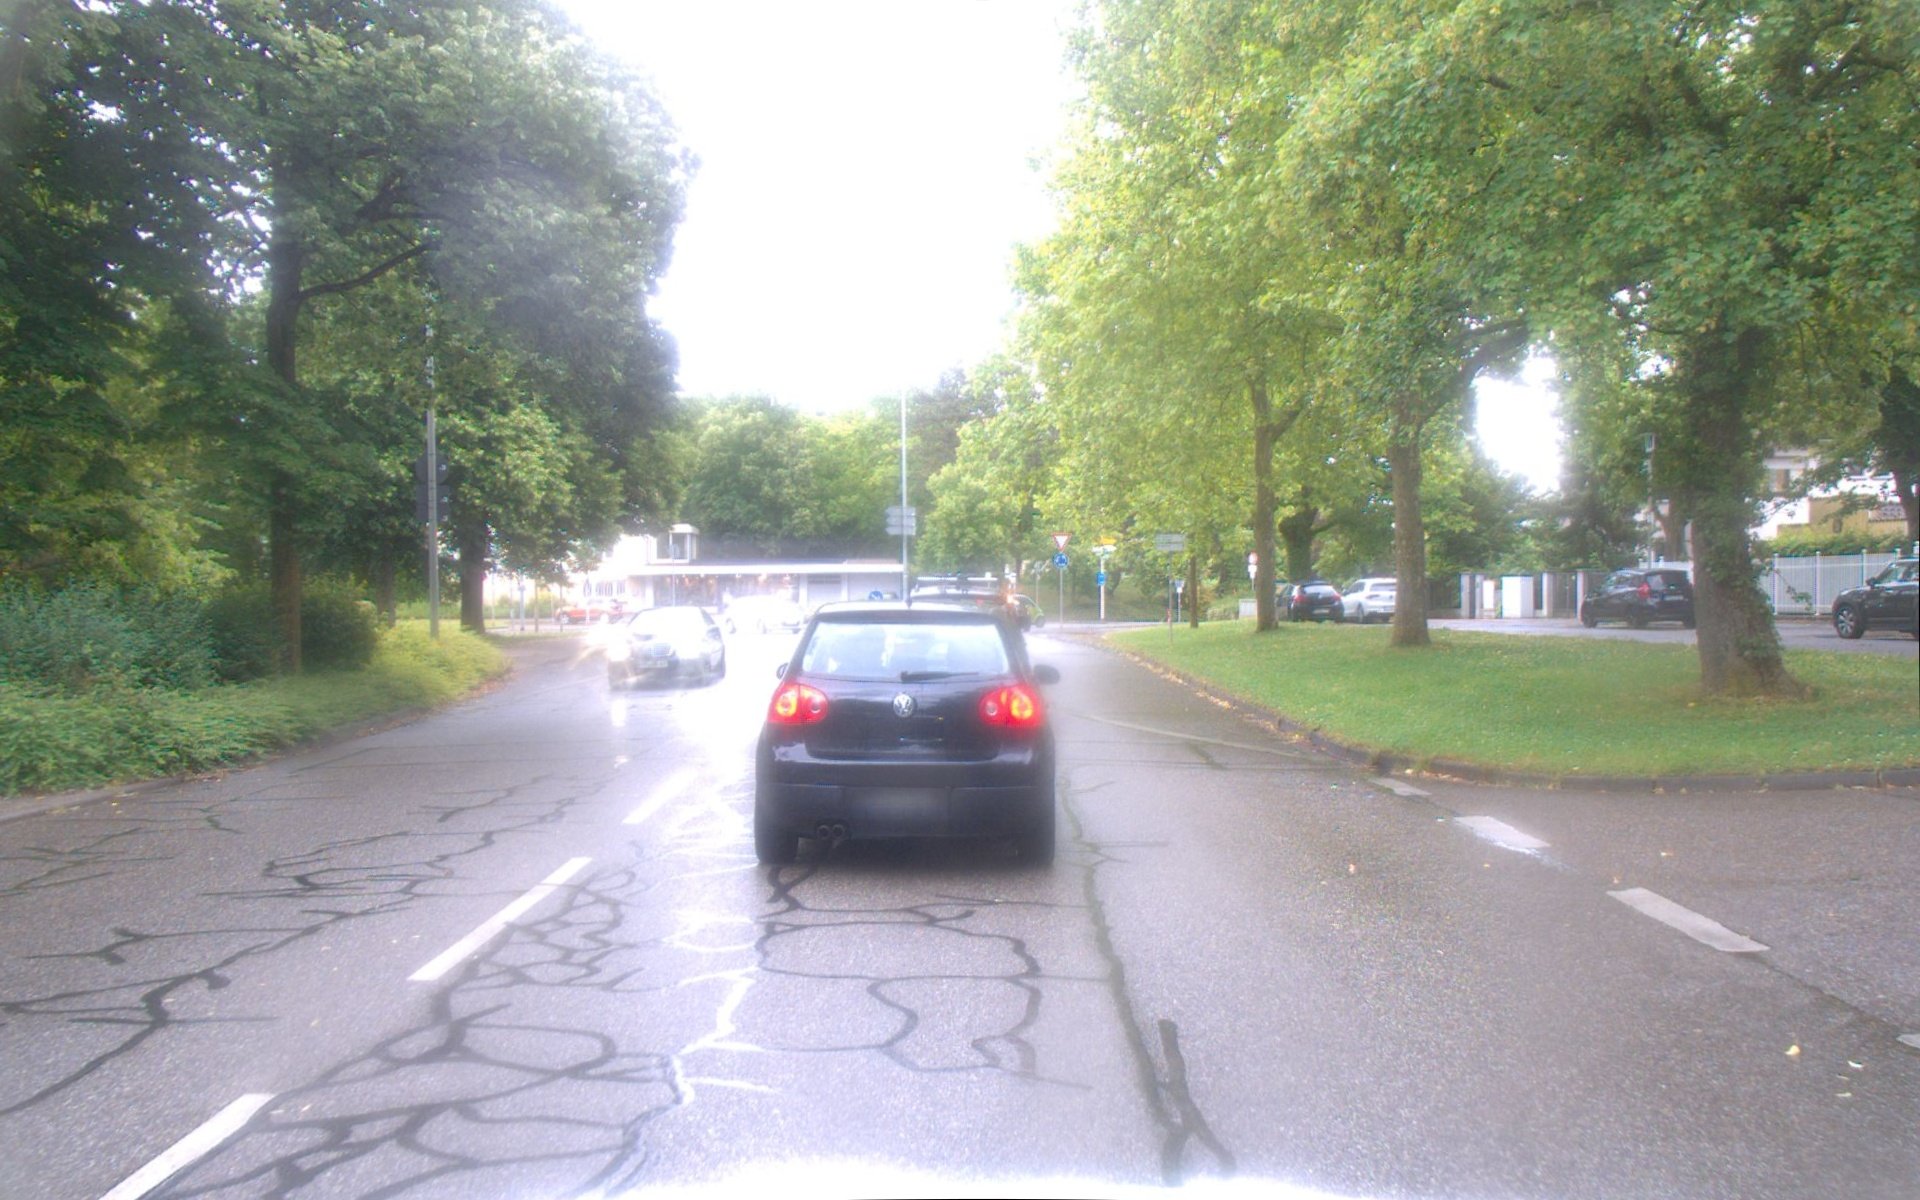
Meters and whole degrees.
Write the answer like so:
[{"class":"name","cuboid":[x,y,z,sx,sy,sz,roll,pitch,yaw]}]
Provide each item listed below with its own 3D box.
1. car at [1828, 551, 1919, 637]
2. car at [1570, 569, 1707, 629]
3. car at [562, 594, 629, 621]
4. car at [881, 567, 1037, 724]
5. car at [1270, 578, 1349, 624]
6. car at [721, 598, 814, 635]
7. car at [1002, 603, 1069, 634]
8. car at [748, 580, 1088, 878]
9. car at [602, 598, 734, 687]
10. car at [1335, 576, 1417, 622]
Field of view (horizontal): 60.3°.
[{"class":"car","cuboid":[18.451,-0.145,31.289,1.766,1.556,4.111,-2,1,-2]},{"class":"car","cuboid":[17.852,-0.057,43.700,1.766,1.436,4.111,-2,1,-2]},{"class":"car","cuboid":[-21.962,0.447,99.676,3.584,1.539,1.713,-1,0,4]},{"class":"car","cuboid":[0.000,0.551,21.458,1.817,1.816,4.000,-1,-1,0]},{"class":"car","cuboid":[11.802,0.021,56.058,1.766,1.409,4.000,-2,0,0]},{"class":"car","cuboid":[-8.003,0.701,68.512,1.827,1.444,4.450,-1,0,-37]},{"class":"car","cuboid":[3.530,0.848,76.933,1.513,1.333,3.111,-2,0,42]},{"class":"car","cuboid":[-0.205,0.668,10.513,1.762,1.542,3.754,0,0,0]},{"class":"car","cuboid":[-5.215,0.719,30.007,1.761,1.417,3.977,-3,0,-2]},{"class":"car","cuboid":[14.101,-0.034,56.265,1.766,1.430,4.000,-2,0,0]}]
